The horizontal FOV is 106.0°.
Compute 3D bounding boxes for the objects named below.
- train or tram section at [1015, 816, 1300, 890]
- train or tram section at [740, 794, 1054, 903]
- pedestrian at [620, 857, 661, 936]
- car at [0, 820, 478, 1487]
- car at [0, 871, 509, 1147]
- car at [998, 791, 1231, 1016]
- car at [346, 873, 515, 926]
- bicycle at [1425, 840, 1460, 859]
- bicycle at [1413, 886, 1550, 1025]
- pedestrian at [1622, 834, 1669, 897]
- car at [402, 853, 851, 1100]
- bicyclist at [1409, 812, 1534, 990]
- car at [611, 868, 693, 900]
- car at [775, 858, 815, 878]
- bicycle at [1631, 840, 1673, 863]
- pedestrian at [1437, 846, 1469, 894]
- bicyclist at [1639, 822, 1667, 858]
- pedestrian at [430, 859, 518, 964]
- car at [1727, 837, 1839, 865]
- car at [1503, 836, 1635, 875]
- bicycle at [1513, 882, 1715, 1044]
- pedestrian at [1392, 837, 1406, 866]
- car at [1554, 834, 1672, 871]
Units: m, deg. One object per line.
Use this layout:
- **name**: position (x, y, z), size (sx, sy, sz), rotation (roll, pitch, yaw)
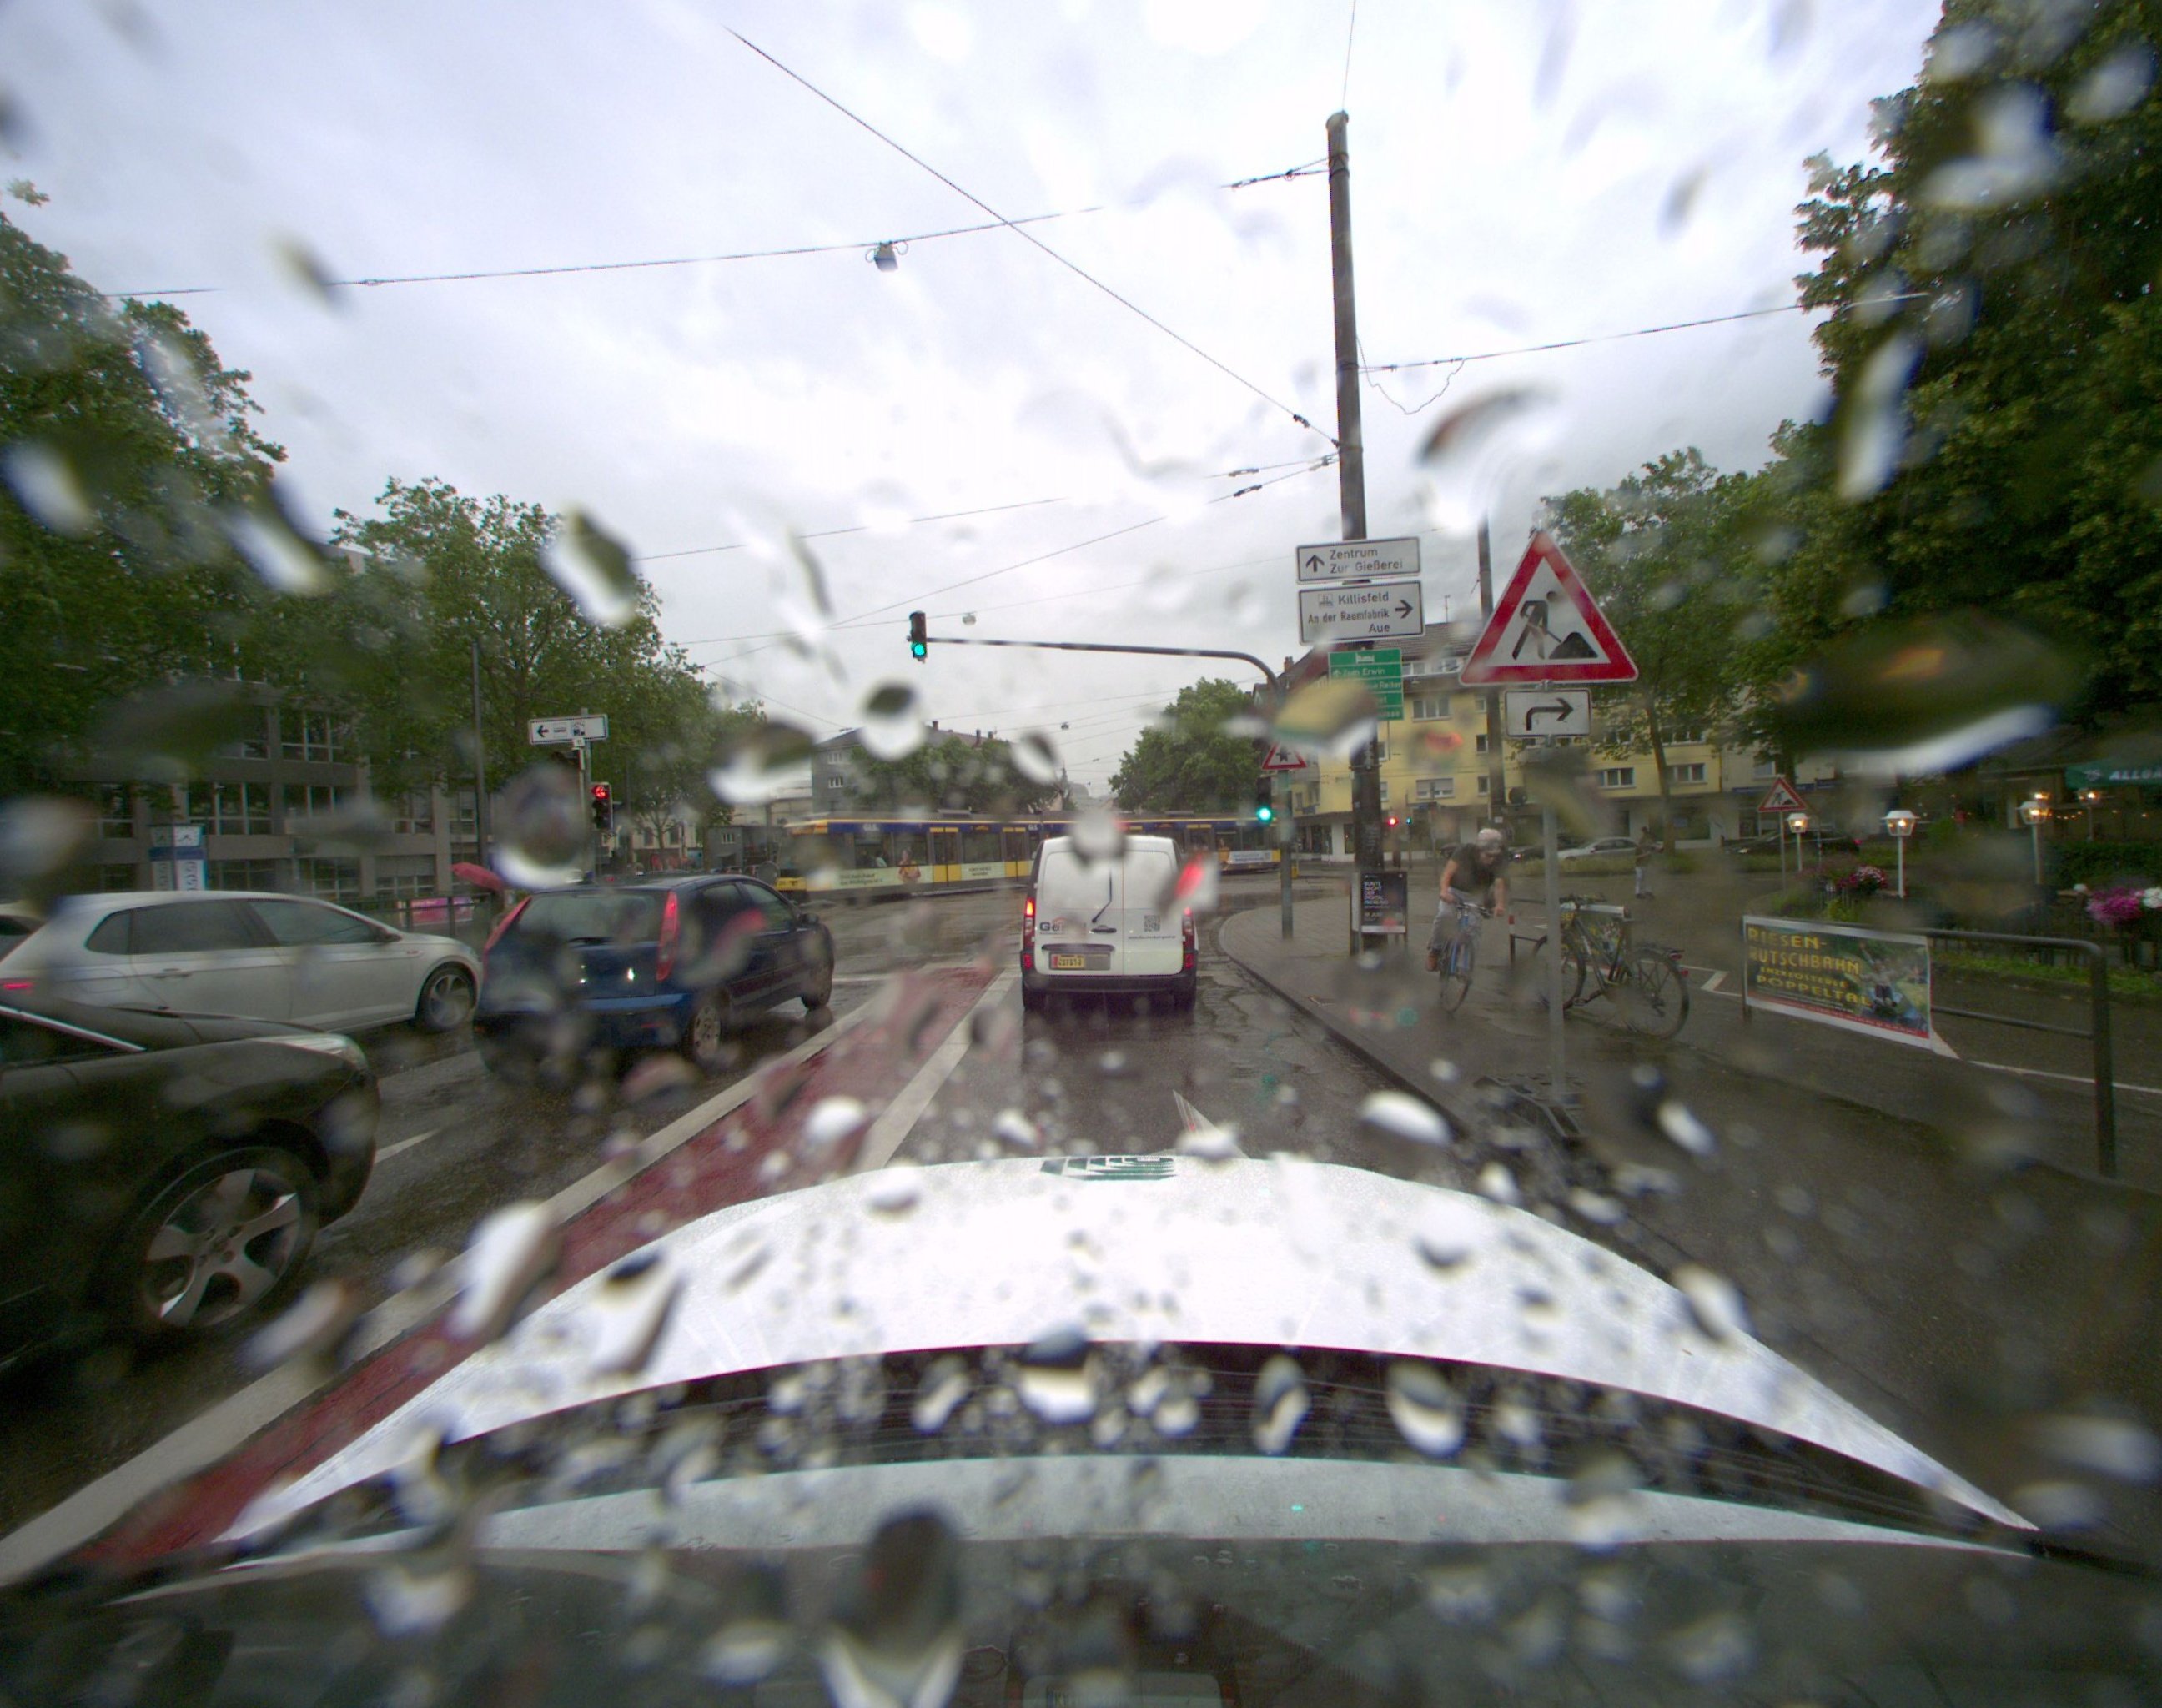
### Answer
- **train or tram section**: position (4.360, -0.050, 42.667), size (15.542, 3.413, 3.520), rotation (0, 0, -28)
- **train or tram section**: position (-6.564, -0.164, 33.030), size (3.479, 3.512, 13.746), rotation (0, 0, 34)
- **pedestrian**: position (-9.243, 0.871, 17.111), size (0.627, 1.607, 0.737), rotation (-1, 0, -19)
- **car**: position (-3.648, 0.763, 1.517), size (1.827, 1.668, 4.174), rotation (-1, 0, 2)
- **car**: position (-6.785, 0.935, 6.525), size (1.623, 1.494, 3.783), rotation (-1, 0, 2)
- **car**: position (0.386, 0.476, 9.998), size (2.092, 2.012, 4.965), rotation (-2, -1, 2)
- **car**: position (-18.599, 1.263, 23.484), size (1.582, 1.314, 3.538), rotation (-1, 0, 16)
- **bicycle**: position (24.331, -0.298, 54.855), size (2.085, 1.261, 0.534), rotation (-1, 1, 16)
- **bicycle**: position (3.688, 0.875, 7.663), size (0.456, 1.027, 1.904), rotation (-2, 1, 4)
- **pedestrian**: position (15.418, 0.302, 22.273), size (0.896, 1.669, 1.026), rotation (-1, 0, 27)
- **car**: position (-3.512, 0.804, 7.222), size (1.720, 1.578, 3.822), rotation (-1, 0, 2)
- **bicyclist**: position (3.669, 0.423, 7.732), size (0.872, 1.583, 0.863), rotation (-1, 0, 12)
- **car**: position (-20.219, 1.380, 38.593), size (1.638, 1.387, 4.002), rotation (-1, 0, 2)
- **car**: position (-30.959, 1.502, 88.240), size (1.622, 2.133, 4.128), rotation (-1, 0, 28)
- **bicycle**: position (26.442, -0.121, 37.741), size (1.631, 1.002, 0.422), rotation (-1, 0, 2)
- **pedestrian**: position (12.227, 0.507, 26.738), size (0.820, 1.534, 0.616), rotation (-1, -1, -37)
- **bicyclist**: position (26.508, -0.637, 37.741), size (0.810, 1.615, 0.711), rotation (-1, 0, 2)
- **pedestrian**: position (-10.876, 1.003, 14.624), size (0.763, 1.746, 0.899), rotation (-4, 1, 1)
- **car**: position (29.284, -0.126, 34.028), size (3.511, 1.082, 1.248), rotation (-1, 0, 4)
- **car**: position (22.858, 0.108, 38.370), size (4.902, 1.643, 2.007), rotation (-1, -3, 14)
- **bicycle**: position (4.486, 0.843, 7.045), size (0.512, 1.107, 2.018), rotation (1, 0, 3)
- **pedestrian**: position (16.847, -0.130, 43.122), size (0.615, 1.500, 0.555), rotation (-1, -1, 19)
- **car**: position (22.916, -0.078, 35.246), size (3.906, 1.490, 1.815), rotation (-1, 1, 17)
